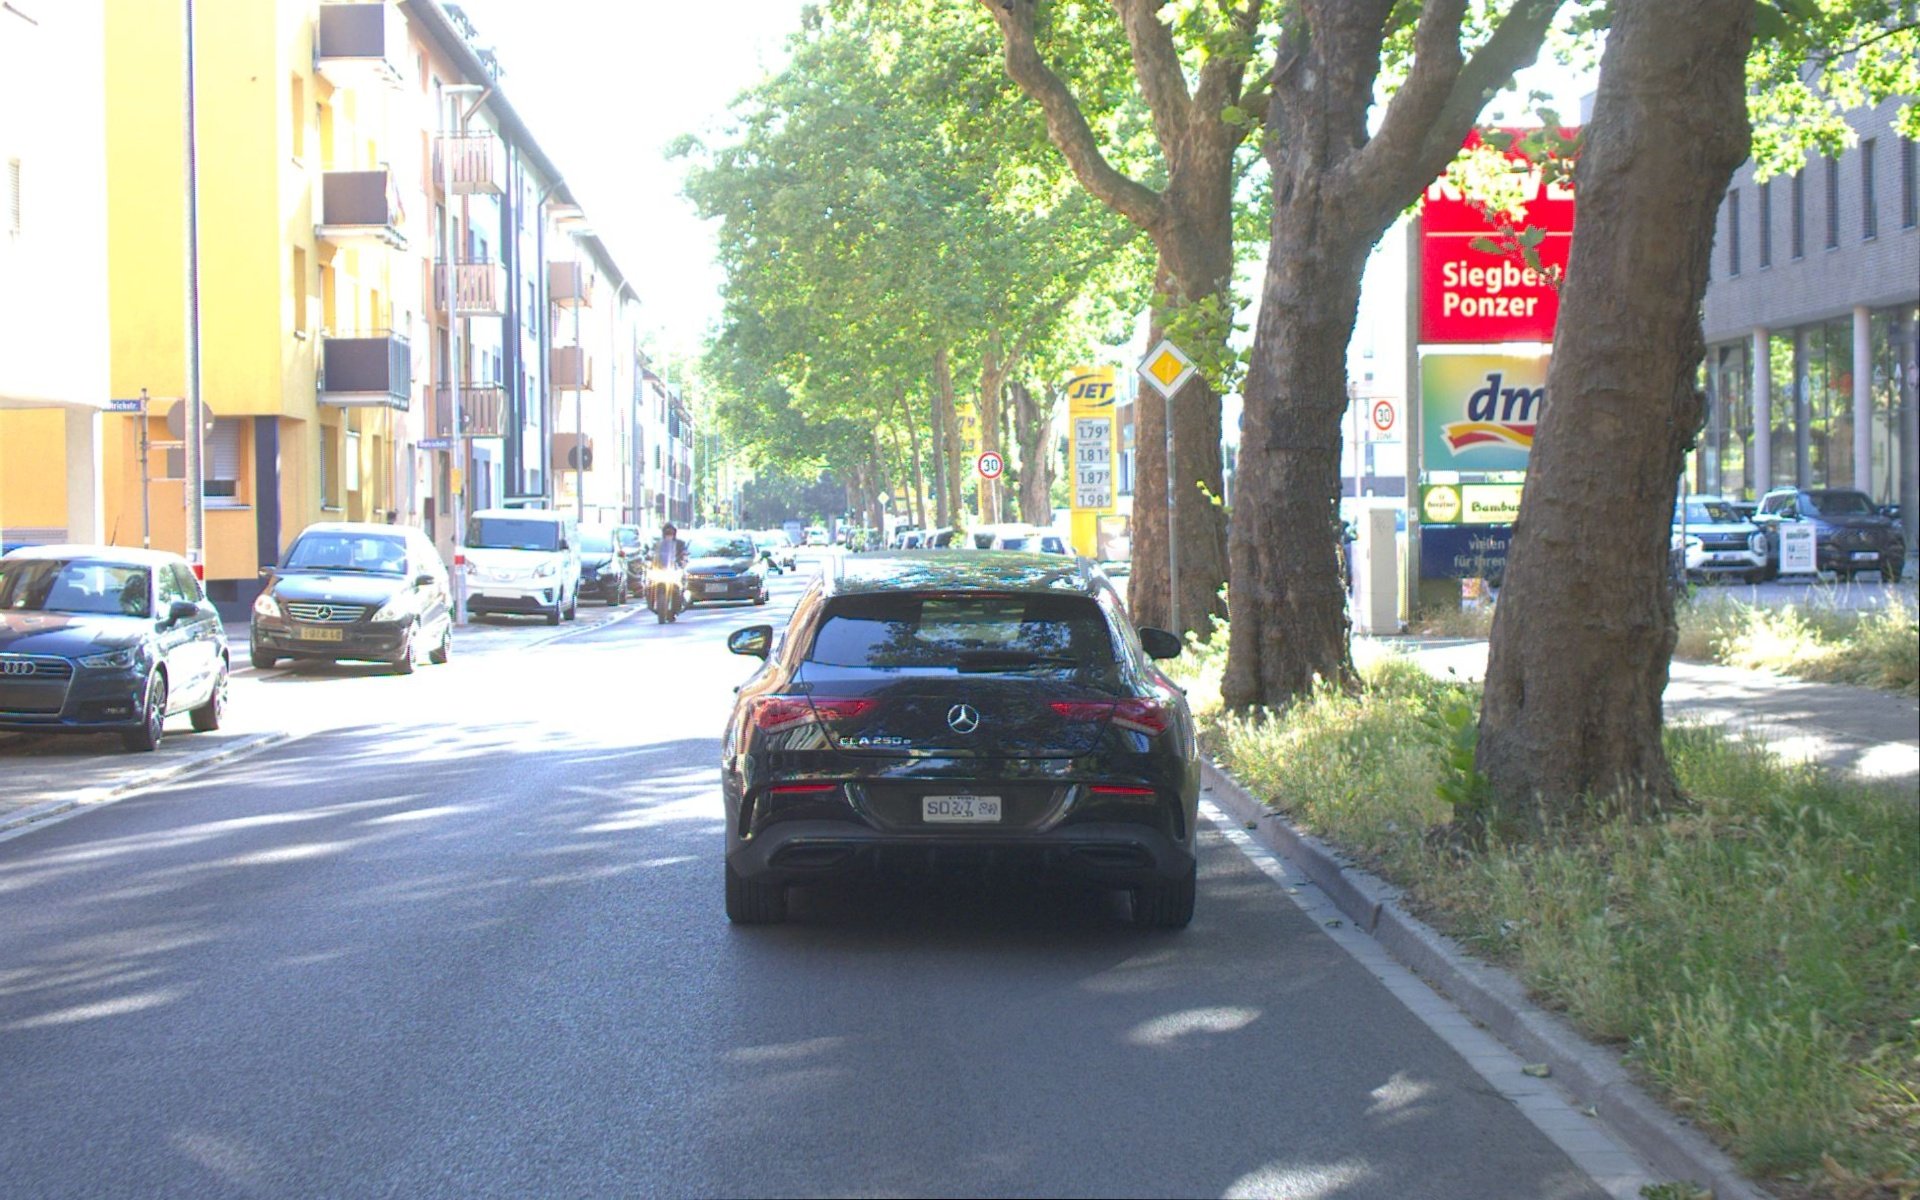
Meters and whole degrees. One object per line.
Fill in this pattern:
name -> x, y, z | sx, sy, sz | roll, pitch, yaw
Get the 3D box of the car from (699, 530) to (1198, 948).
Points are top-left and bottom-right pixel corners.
car -> -0.022, 0.451, 14.147 | 1.744, 1.438, 3.969 | 1, 1, 1

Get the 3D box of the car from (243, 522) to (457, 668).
car -> -6.760, -0.098, 38.458 | 1.678, 1.518, 4.021 | 1, 1, 0

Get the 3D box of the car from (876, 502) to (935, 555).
car -> -2.173, -2.798, 135.857 | 1.993, 2.007, 4.001 | 0, 0, -5

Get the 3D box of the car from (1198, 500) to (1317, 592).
car -> 5.654, -1.019, 65.828 | 1.752, 1.664, 4.158 | -1, 1, -2

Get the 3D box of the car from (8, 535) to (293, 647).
car -> -11.933, -0.147, 50.827 | 3.783, 1.561, 1.749 | -1, 1, -1

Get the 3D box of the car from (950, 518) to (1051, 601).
car -> 0.790, -0.826, 69.724 | 1.810, 1.533, 4.583 | -3, 1, -1

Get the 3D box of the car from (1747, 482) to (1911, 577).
car -> 16.558, -1.353, 65.673 | 1.985, 1.727, 4.181 | -1, 1, -1

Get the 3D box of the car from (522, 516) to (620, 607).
car -> -8.021, -0.826, 71.188 | 1.745, 1.781, 4.550 | 1, 1, -3

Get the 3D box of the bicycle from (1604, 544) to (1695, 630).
bicycle -> 8.286, -0.164, 41.373 | 0.382, 1.000, 1.487 | -1, 1, -18

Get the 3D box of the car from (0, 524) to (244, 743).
car -> -6.557, 0.193, 25.646 | 1.678, 1.481, 3.601 | 1, 1, 0

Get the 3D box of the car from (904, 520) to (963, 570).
car -> -0.865, -1.773, 110.398 | 1.722, 1.552, 3.601 | 1, 1, -3

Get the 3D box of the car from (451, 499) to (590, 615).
car -> -7.474, -0.769, 58.864 | 1.734, 1.900, 5.209 | 0, 1, 0

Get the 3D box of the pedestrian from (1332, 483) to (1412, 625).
pedestrian -> 5.229, -0.585, 43.669 | 0.767, 1.755, 0.664 | -3, 1, -11

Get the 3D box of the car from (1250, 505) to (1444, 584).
car -> 7.983, -1.163, 70.872 | 3.807, 1.540, 1.662 | -2, 2, -35

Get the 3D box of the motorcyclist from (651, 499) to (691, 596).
motorcyclist -> -4.843, -0.878, 57.624 | 0.585, 1.599, 0.832 | -1, 1, -2

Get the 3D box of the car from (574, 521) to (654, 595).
car -> -7.915, -0.989, 78.953 | 1.596, 1.635, 4.413 | 1, 1, -3

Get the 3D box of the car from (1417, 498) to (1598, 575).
car -> 11.801, -1.375, 73.996 | 3.808, 1.505, 1.643 | -3, 2, -37

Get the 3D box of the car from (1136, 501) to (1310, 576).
car -> 6.070, -1.422, 79.269 | 3.808, 1.573, 1.746 | -3, 2, -39

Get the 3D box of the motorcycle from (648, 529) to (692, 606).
motorcycle -> -4.855, -0.556, 57.616 | 0.547, 1.237, 2.264 | -3, 1, -2

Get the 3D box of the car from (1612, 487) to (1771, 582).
car -> 13.965, -1.261, 65.840 | 1.875, 1.727, 4.181 | -1, 1, -4

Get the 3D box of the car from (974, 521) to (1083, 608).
car -> 1.215, -0.649, 62.788 | 1.635, 1.463, 4.022 | -2, 1, -3

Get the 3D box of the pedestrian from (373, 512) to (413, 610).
pedestrian -> -10.446, -0.722, 63.343 | 0.587, 1.784, 0.642 | -1, 1, -1

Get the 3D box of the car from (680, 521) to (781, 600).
car -> -4.577, -0.817, 69.035 | 1.771, 1.473, 4.322 | -1, 2, -1
